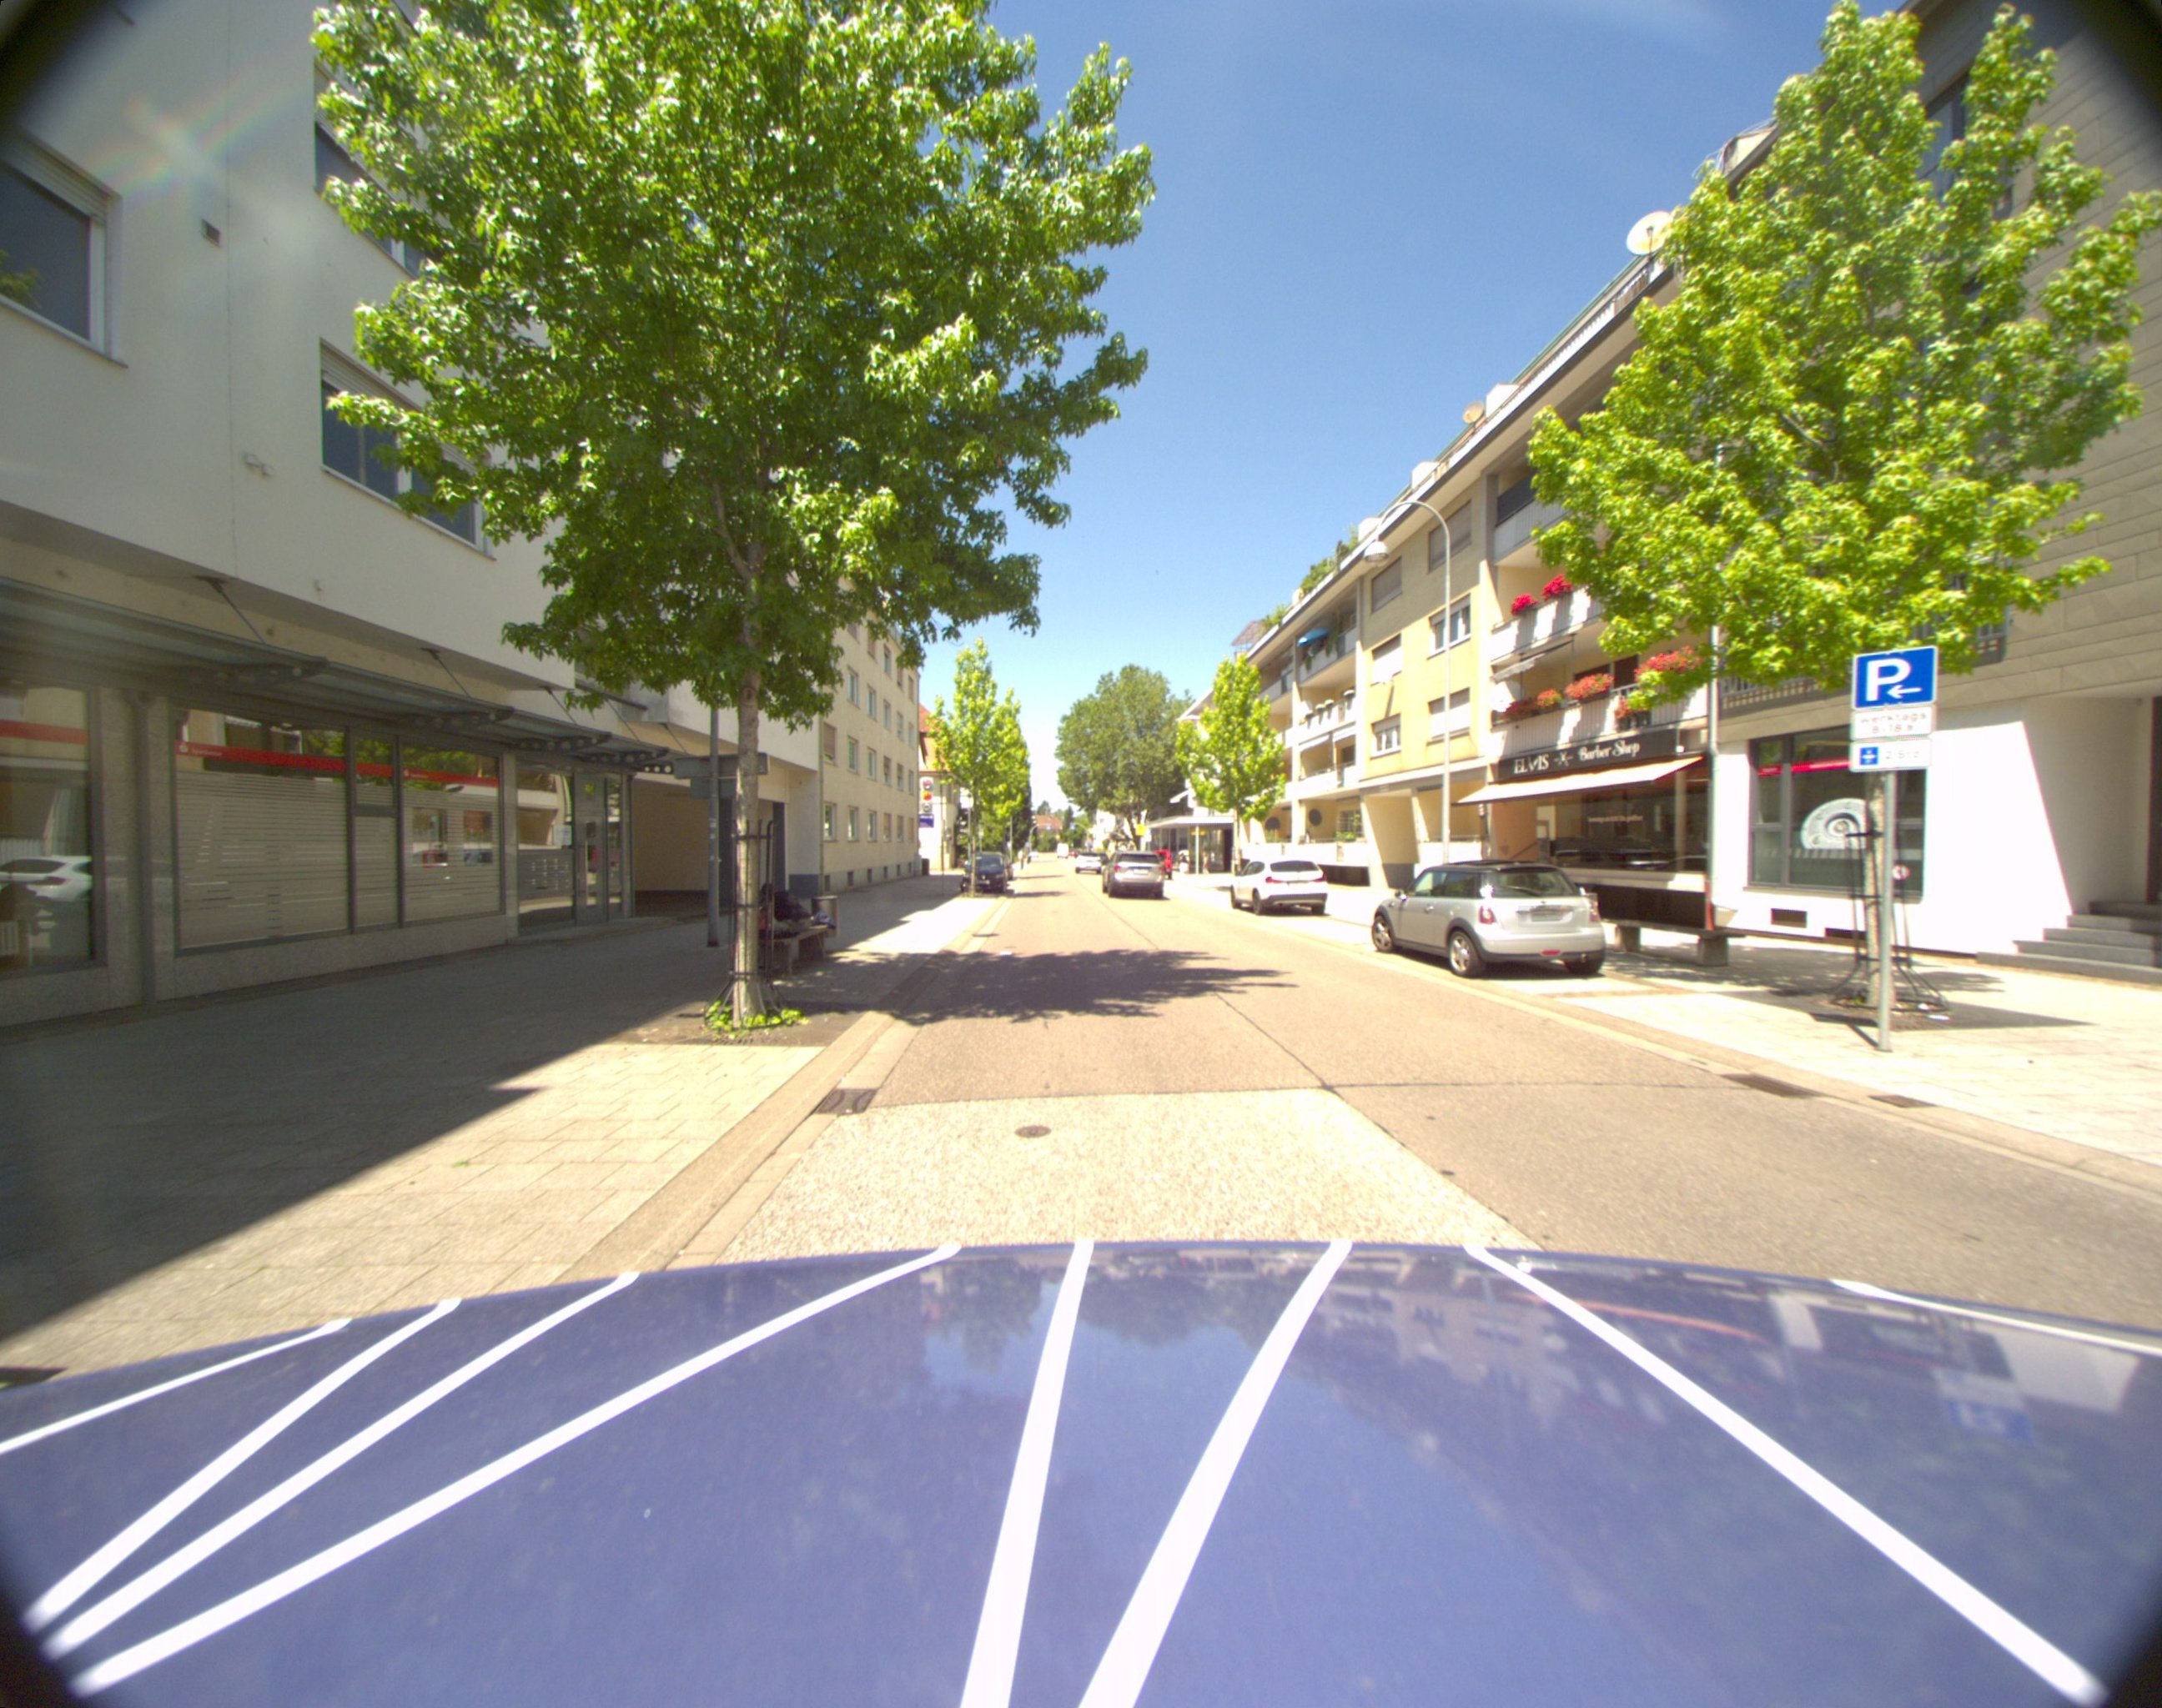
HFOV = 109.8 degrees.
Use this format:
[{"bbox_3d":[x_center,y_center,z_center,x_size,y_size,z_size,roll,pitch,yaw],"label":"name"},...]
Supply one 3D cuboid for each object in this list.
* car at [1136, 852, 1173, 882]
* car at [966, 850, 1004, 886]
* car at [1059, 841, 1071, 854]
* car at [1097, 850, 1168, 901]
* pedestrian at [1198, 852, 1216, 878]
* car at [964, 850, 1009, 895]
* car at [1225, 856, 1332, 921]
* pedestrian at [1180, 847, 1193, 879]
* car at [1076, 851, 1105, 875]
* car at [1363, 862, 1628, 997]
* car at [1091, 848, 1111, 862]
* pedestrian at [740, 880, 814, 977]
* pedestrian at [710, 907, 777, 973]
[{"bbox_3d":[4.272,0.716,44.525,1.645,1.652,3.369,-2,1,-2],"label":"car"},{"bbox_3d":[-4.689,0.639,37.531,1.693,1.712,4.131,0,1,-5],"label":"car"},{"bbox_3d":[-3.026,-1.232,140.799,2.232,2.452,5.247,0,1,-2],"label":"car"},{"bbox_3d":[1.842,0.740,28.725,1.906,1.744,4.754,1,0,-5],"label":"car"},{"bbox_3d":[7.271,0.604,43.878,0.695,1.490,0.781,1,1,42],"label":"pedestrian"},{"bbox_3d":[-3.931,0.707,31.954,1.694,1.712,3.997,2,0,-6],"label":"car"},{"bbox_3d":[5.341,0.862,21.118,1.699,1.583,4.298,0,0,-2],"label":"car"},{"bbox_3d":[6.043,0.511,43.377,0.667,1.794,0.686,0,1,12],"label":"pedestrian"},{"bbox_3d":[0.637,0.630,53.614,1.776,1.623,4.298,0,0,-3],"label":"car"},{"bbox_3d":[5.418,0.884,10.487,1.626,1.465,3.547,0,1,-2],"label":"car"},{"bbox_3d":[2.135,0.054,82.536,1.999,1.499,3.999,0,0,-2],"label":"car"},{"bbox_3d":[-4.087,0.983,10.238,0.761,1.233,0.538,1,1,12],"label":"pedestrian"},{"bbox_3d":[-4.755,1.194,10.725,0.679,0.847,0.538,1,1,12],"label":"pedestrian"}]
